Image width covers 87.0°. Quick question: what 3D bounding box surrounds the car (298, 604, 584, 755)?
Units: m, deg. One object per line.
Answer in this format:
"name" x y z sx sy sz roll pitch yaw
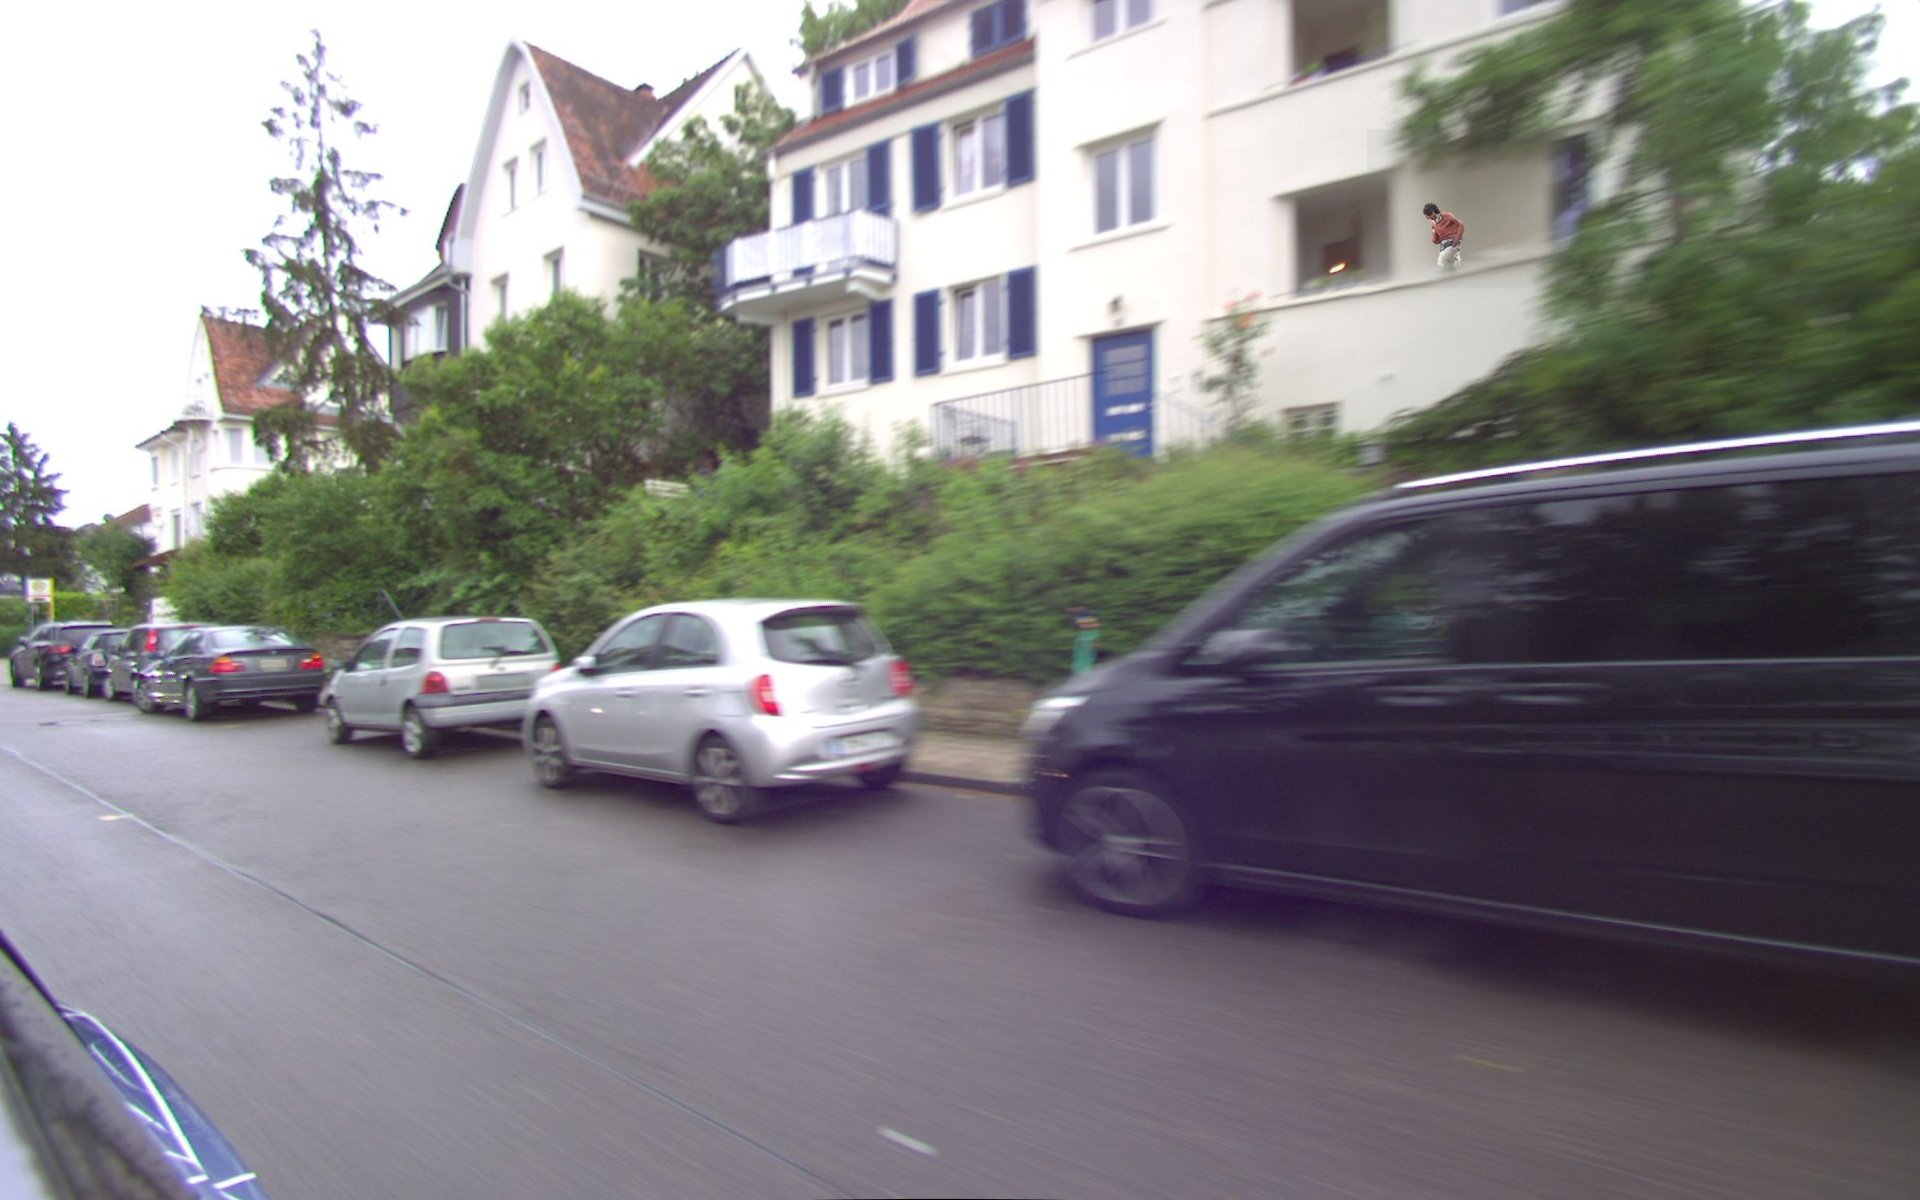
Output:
"car" -6.120 0.890 11.781 3.624 1.458 1.630 -4 -2 40

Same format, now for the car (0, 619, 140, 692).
"car" -22.691 1.389 25.714 4.372 1.634 1.876 -2 0 37

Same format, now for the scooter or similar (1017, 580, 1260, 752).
"scooter or similar" 1.414 0.536 8.304 1.917 1.265 0.495 -4 -2 40

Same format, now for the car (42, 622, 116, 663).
"car" -41.635 2.023 47.803 3.992 1.709 1.750 -4 -2 36

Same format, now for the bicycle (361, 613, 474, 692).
"bicycle" -9.821 0.956 18.269 2.289 1.311 0.994 -4 -2 40

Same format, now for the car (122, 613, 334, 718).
"car" -12.071 1.069 16.576 4.412 1.458 1.738 -4 -2 40

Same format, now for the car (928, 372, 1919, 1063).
"car" 2.515 0.319 4.181 5.354 1.892 1.973 -2 1 41

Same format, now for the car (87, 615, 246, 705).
"car" -15.746 1.148 20.024 3.810 1.553 1.680 -2 0 40

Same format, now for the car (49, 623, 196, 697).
"car" -18.937 1.362 22.839 3.810 1.458 1.874 -4 -2 40

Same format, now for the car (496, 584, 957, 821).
"car" -2.021 0.667 8.150 3.811 1.458 1.677 -2 0 41
